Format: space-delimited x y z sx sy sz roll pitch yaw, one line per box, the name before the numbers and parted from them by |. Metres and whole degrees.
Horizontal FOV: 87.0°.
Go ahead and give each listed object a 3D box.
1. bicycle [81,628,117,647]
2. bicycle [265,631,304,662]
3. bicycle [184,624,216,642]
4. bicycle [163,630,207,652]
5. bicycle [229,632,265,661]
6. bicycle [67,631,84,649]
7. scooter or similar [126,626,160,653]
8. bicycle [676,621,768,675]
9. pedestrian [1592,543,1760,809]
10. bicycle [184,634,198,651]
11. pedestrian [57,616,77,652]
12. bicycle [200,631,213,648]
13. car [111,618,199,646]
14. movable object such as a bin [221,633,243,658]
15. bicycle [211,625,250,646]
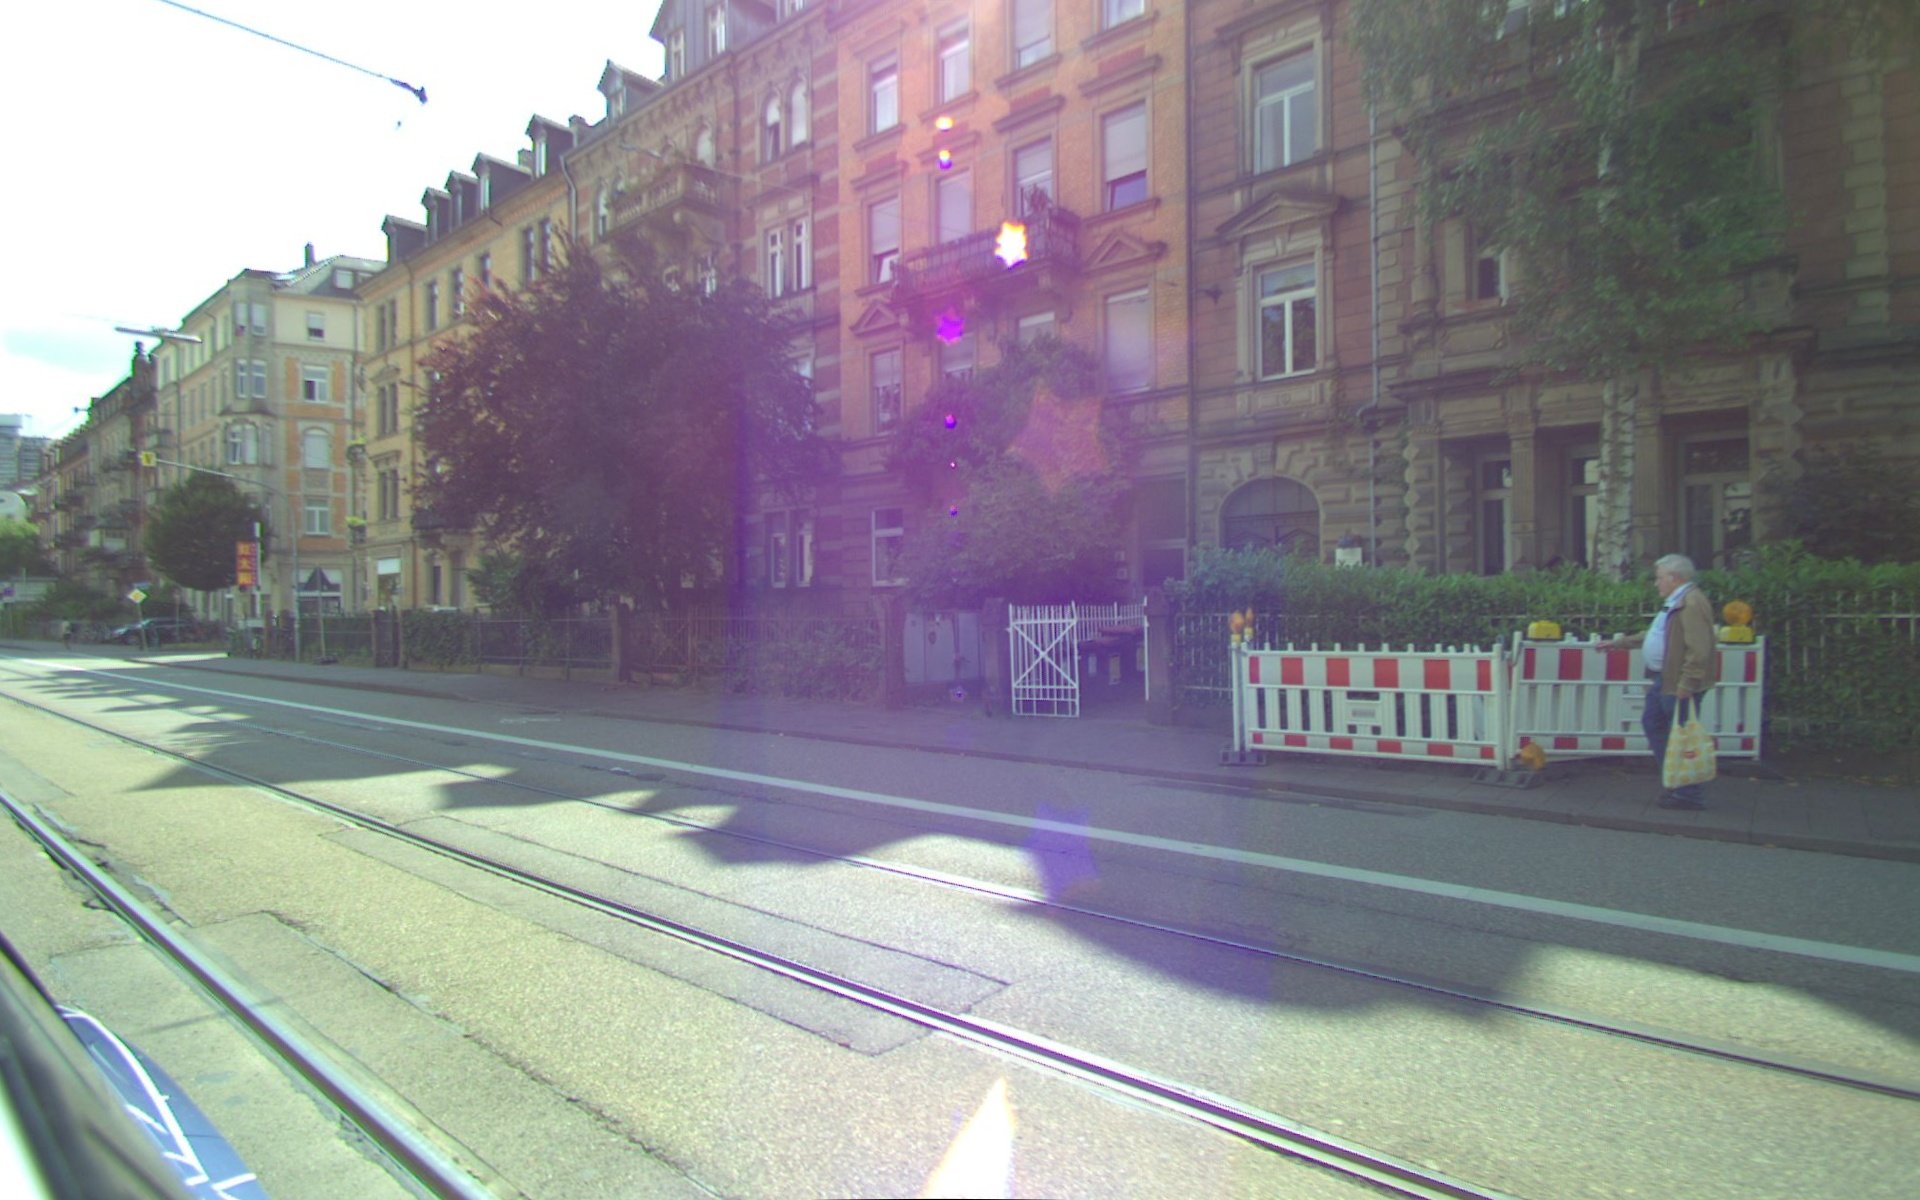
bicycle | -46.768 2.030 54.984 0.404 0.984 1.438 -2 -2 40
bicycle | -21.616 1.489 32.360 1.966 0.954 0.524 -2 -1 41
bicycle | -44.133 1.928 58.809 0.404 0.984 1.438 -2 -2 40
bicycle | -40.766 2.147 53.238 0.523 1.071 1.738 -2 -1 35
bicycle | -24.564 1.584 34.850 1.966 0.954 0.524 -2 -1 41
bicycle | -48.913 2.212 55.950 1.948 0.984 0.417 -2 -1 40
scooter or similar | -40.163 1.935 49.777 0.400 1.244 1.361 -1 0 12
bicycle | -4.849 0.963 20.805 0.465 1.027 2.188 -1 -1 30
pedestrian | 5.032 0.496 7.125 0.890 1.719 0.815 -1 -1 37
bicycle | -39.367 2.194 51.806 0.516 0.844 1.702 -1 -2 -36
pedestrian | -44.035 1.671 49.902 1.105 1.773 0.528 -2 1 40
bicycle | -38.647 2.013 51.892 0.516 0.844 1.702 -1 -2 -36
car | -44.136 1.734 55.528 1.787 1.413 3.563 -2 -1 44
movable object such as a bin | -27.287 1.717 37.940 0.635 0.912 0.520 -2 -1 39
bicycle | -39.124 1.877 54.262 1.671 1.071 0.525 -1 -2 -39
